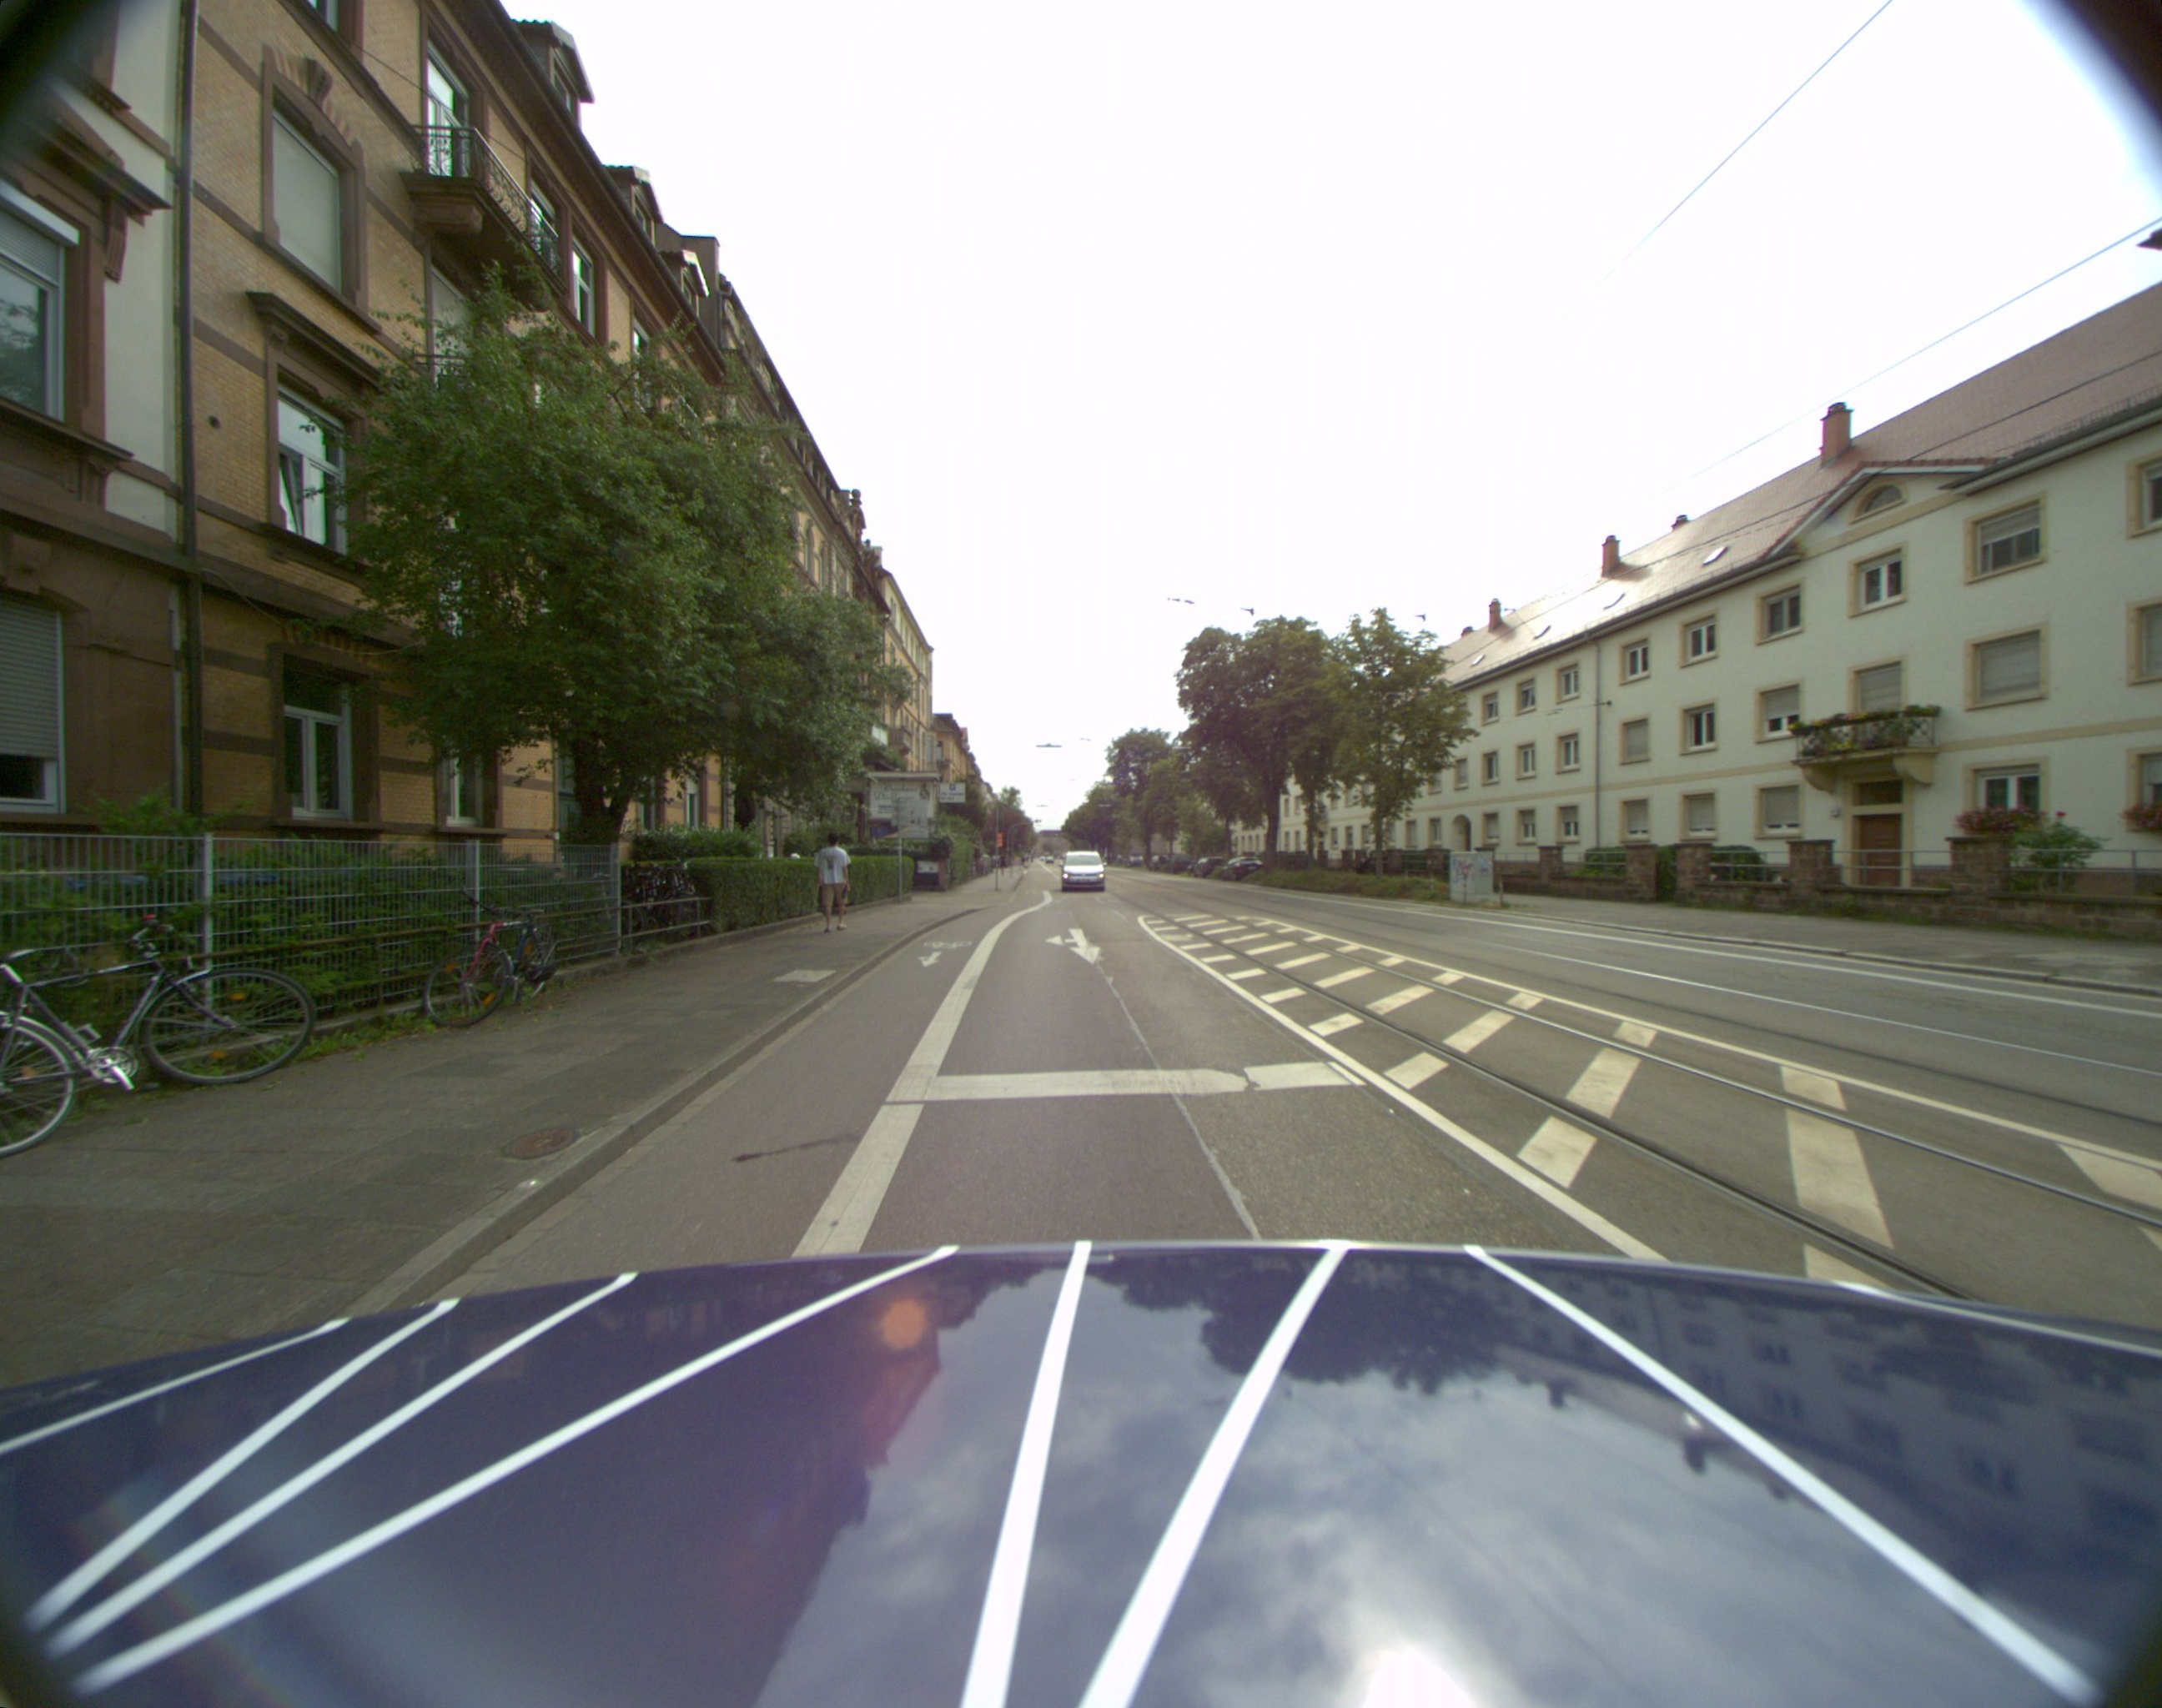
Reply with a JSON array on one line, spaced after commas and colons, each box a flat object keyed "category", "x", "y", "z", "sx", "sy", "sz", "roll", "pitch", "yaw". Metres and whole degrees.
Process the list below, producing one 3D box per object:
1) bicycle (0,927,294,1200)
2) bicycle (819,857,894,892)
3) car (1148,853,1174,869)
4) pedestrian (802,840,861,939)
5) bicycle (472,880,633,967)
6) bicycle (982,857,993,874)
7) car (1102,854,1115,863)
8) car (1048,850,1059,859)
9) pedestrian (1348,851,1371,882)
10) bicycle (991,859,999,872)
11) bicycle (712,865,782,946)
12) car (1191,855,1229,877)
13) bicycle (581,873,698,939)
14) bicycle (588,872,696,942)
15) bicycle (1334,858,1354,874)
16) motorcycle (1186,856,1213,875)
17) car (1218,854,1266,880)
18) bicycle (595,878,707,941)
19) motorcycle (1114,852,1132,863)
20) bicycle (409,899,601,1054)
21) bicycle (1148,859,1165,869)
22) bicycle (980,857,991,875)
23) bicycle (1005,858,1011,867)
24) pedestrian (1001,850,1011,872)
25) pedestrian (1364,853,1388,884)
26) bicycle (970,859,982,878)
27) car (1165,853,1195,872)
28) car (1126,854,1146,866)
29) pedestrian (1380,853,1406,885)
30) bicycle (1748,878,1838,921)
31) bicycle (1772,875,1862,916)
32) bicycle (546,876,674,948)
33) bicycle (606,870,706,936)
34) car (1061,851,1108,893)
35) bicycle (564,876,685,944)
[{"category": "bicycle", "x": -5.219, "y": 1.003, "z": 3.898, "sx": 0.673, "sy": 1.100, "sz": 1.671, "roll": 0, "pitch": 0, "yaw": -3}, {"category": "bicycle", "x": -8.543, "y": 0.757, "z": 28.953, "sx": 2.631, "sy": 1.304, "sz": 0.770, "roll": 0, "pitch": 0, "yaw": -6}, {"category": "car", "x": 7.872, "y": 0.665, "z": 74.882, "sx": 1.702, "sy": 1.462, "sz": 4.297, "roll": 0, "pitch": 0, "yaw": -5}, {"category": "pedestrian", "x": -4.505, "y": 0.623, "z": 13.786, "sx": 0.732, "sy": 1.744, "sz": 0.950, "roll": 0, "pitch": 1, "yaw": 2}, {"category": "bicycle", "x": -6.393, "y": 0.831, "z": 9.244, "sx": 1.549, "sy": 1.003, "sz": 0.510, "roll": 0, "pitch": 1, "yaw": -5}, {"category": "bicycle", "x": -6.449, "y": 0.772, "z": 52.281, "sx": 0.580, "sy": 1.105, "sz": 1.671, "roll": 4, "pitch": 0, "yaw": -4}, {"category": "car", "x": 4.789, "y": 0.812, "z": 131.351, "sx": 1.732, "sy": 1.462, "sz": 4.297, "roll": 0, "pitch": 0, "yaw": -5}, {"category": "car", "x": -5.489, "y": 0.113, "z": 153.778, "sx": 1.947, "sy": 1.675, "sz": 4.000, "roll": 0, "pitch": 0, "yaw": 1}, {"category": "pedestrian", "x": 13.989, "y": 0.620, "z": 38.132, "sx": 0.835, "sy": 1.503, "sz": 0.732, "roll": 0, "pitch": 1, "yaw": -8}, {"category": "bicycle", "x": -6.981, "y": 0.953, "z": 61.791, "sx": 0.580, "sy": 0.977, "sz": 1.671, "roll": 4, "pitch": 0, "yaw": -4}, {"category": "bicycle", "x": -5.646, "y": 0.840, "z": 12.933, "sx": 0.517, "sy": 1.274, "sz": 1.550, "roll": 0, "pitch": 0, "yaw": -1}, {"category": "car", "x": 9.126, "y": 0.833, "z": 54.146, "sx": 1.701, "sy": 1.415, "sz": 4.298, "roll": -1, "pitch": 0, "yaw": -3}, {"category": "bicycle", "x": -6.981, "y": 0.813, "z": 12.055, "sx": 1.549, "sy": 1.003, "sz": 0.444, "roll": 0, "pitch": 1, "yaw": -5}, {"category": "bicycle", "x": -7.614, "y": 0.901, "z": 13.212, "sx": 1.549, "sy": 1.174, "sz": 0.517, "roll": 0, "pitch": 1, "yaw": -5}, {"category": "bicycle", "x": 14.739, "y": 0.676, "z": 42.570, "sx": 0.510, "sy": 0.858, "sz": 1.549, "roll": 0, "pitch": 0, "yaw": -3}, {"category": "motorcycle", "x": 9.021, "y": 0.841, "z": 58.002, "sx": 1.872, "sy": 1.253, "sz": 0.591, "roll": -6, "pitch": 1, "yaw": -7}, {"category": "car", "x": 9.694, "y": 0.768, "z": 46.100, "sx": 1.701, "sy": 1.415, "sz": 4.298, "roll": -3, "pitch": 0, "yaw": -3}, {"category": "bicycle", "x": -7.054, "y": 0.900, "z": 12.493, "sx": 1.549, "sy": 1.003, "sz": 0.444, "roll": 0, "pitch": 1, "yaw": -5}, {"category": "motorcycle", "x": 6.076, "y": 0.521, "z": 109.643, "sx": 2.311, "sy": 1.382, "sz": 0.838, "roll": -5, "pitch": 1, "yaw": 29}, {"category": "bicycle", "x": -4.936, "y": 0.991, "z": 6.637, "sx": 0.510, "sy": 1.082, "sz": 1.549, "roll": 3, "pitch": 0, "yaw": -3}, {"category": "bicycle", "x": 7.902, "y": 1.031, "z": 79.483, "sx": 1.672, "sy": 0.965, "sz": 0.672, "roll": 0, "pitch": 0, "yaw": -12}, {"category": "bicycle", "x": -6.323, "y": 0.770, "z": 50.312, "sx": 0.580, "sy": 1.105, "sz": 1.671, "roll": 4, "pitch": 0, "yaw": -4}, {"category": "bicycle", "x": -9.056, "y": 1.002, "z": 94.571, "sx": 0.631, "sy": 1.106, "sz": 1.874, "roll": 0, "pitch": 0, "yaw": -2}, {"category": "pedestrian", "x": -5.493, "y": 0.537, "z": 55.656, "sx": 0.732, "sy": 1.614, "sz": 0.835, "roll": 0, "pitch": 1, "yaw": -3}, {"category": "pedestrian", "x": 14.108, "y": 0.683, "z": 36.357, "sx": 0.835, "sy": 1.456, "sz": 0.732, "roll": 0, "pitch": 1, "yaw": -8}, {"category": "bicycle", "x": -6.189, "y": 0.865, "z": 44.955, "sx": 0.580, "sy": 1.105, "sz": 1.671, "roll": 0, "pitch": 0, "yaw": -4}, {"category": "car", "x": 8.528, "y": 0.725, "z": 65.634, "sx": 1.790, "sy": 1.602, "sz": 4.298, "roll": 0, "pitch": 0, "yaw": -3}, {"category": "car", "x": 6.799, "y": 0.754, "z": 93.969, "sx": 1.702, "sy": 1.462, "sz": 4.297, "roll": -1, "pitch": 0, "yaw": -5}, {"category": "pedestrian", "x": 14.310, "y": 0.695, "z": 34.859, "sx": 0.835, "sy": 1.456, "sz": 0.732, "roll": 0, "pitch": 1, "yaw": -8}, {"category": "bicycle", "x": 16.693, "y": 1.042, "z": 17.869, "sx": 0.479, "sy": 0.910, "sz": 1.671, "roll": 0, "pitch": 0, "yaw": -3}, {"category": "bicycle", "x": 17.646, "y": 0.975, "z": 18.273, "sx": 0.479, "sy": 0.910, "sz": 1.671, "roll": 0, "pitch": 0, "yaw": -3}, {"category": "bicycle", "x": -6.819, "y": 0.827, "z": 11.042, "sx": 1.549, "sy": 1.003, "sz": 0.444, "roll": 0, "pitch": 1, "yaw": -5}, {"category": "bicycle", "x": -7.882, "y": 0.896, "z": 14.134, "sx": 1.549, "sy": 1.174, "sz": 0.517, "roll": 0, "pitch": 1, "yaw": -5}, {"category": "car", "x": 0.073, "y": 0.715, "z": 33.303, "sx": 1.876, "sy": 1.670, "sz": 5.130, "roll": 0, "pitch": 0, "yaw": -2}, {"category": "bicycle", "x": -6.961, "y": 0.839, "z": 11.622, "sx": 1.549, "sy": 1.003, "sz": 0.444, "roll": 0, "pitch": 1, "yaw": -5}]
